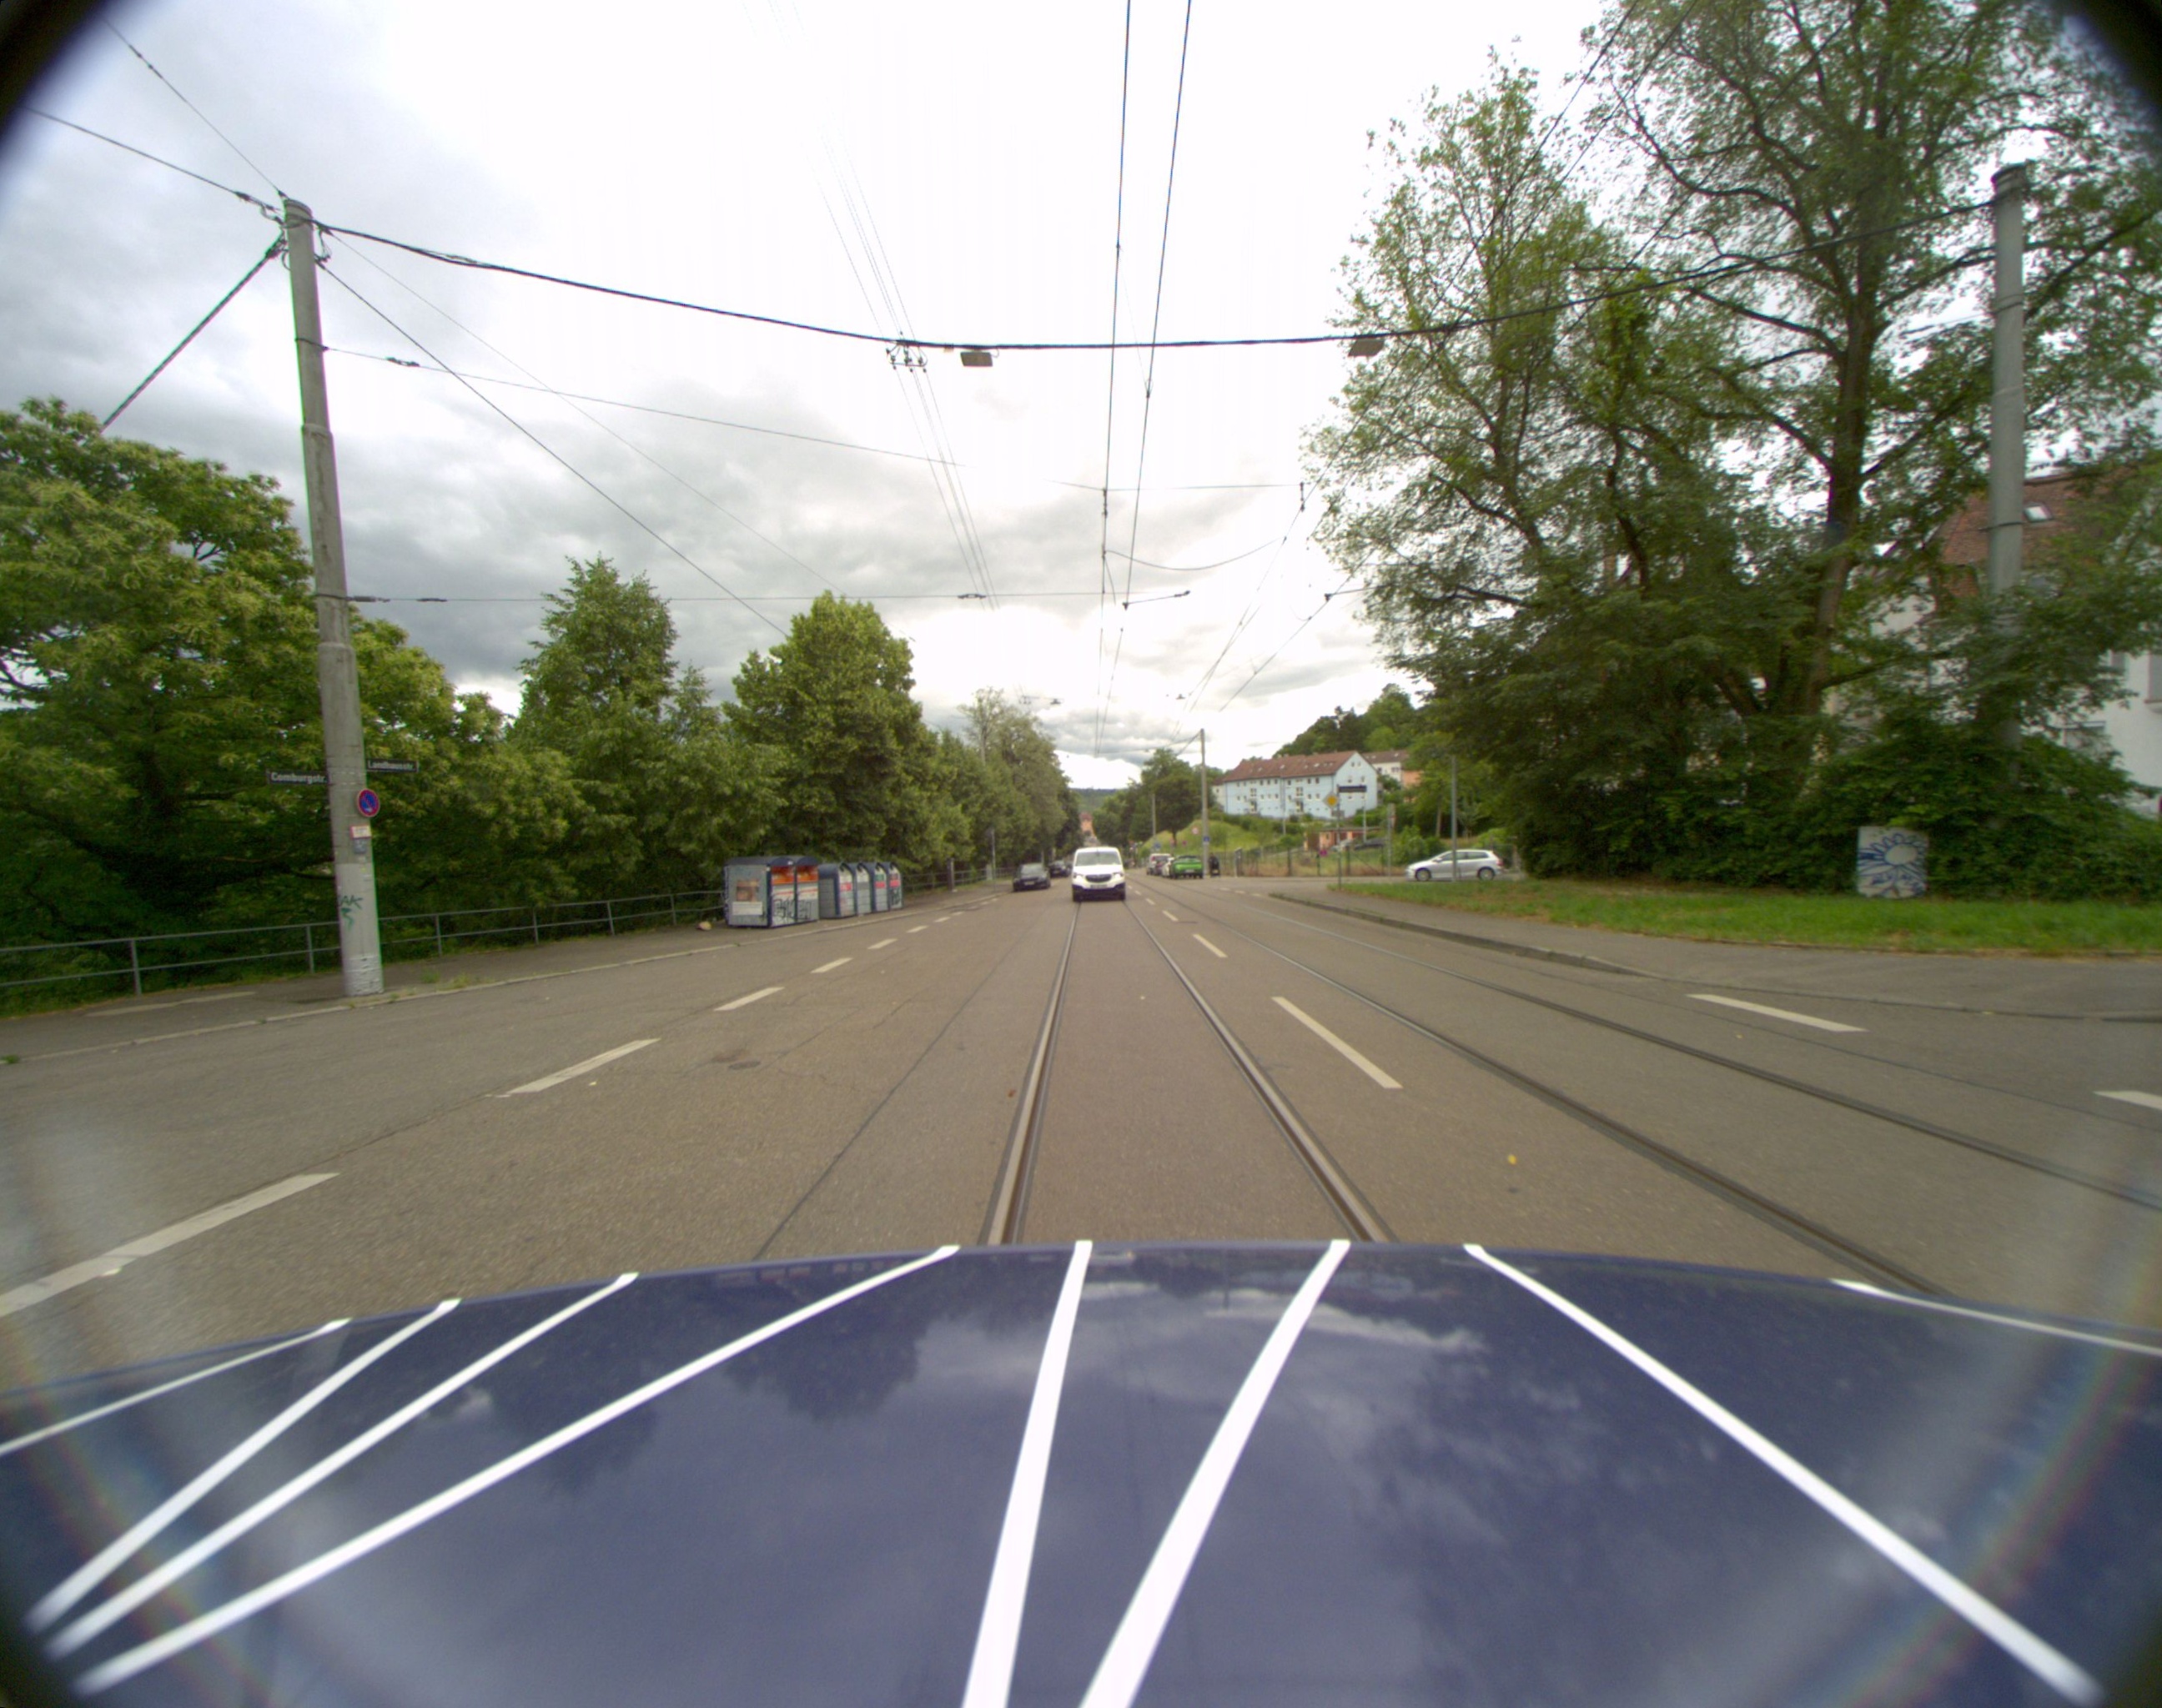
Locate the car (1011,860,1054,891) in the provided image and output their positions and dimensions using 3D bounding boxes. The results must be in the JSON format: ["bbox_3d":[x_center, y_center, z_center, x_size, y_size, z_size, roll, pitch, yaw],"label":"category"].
[{"bbox_3d":[-2.595,1.124,41.361,1.863,1.434,4.388,-5,0,1],"label":"car"}]

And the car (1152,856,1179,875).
[{"bbox_3d":[6.856,0.935,61.887,1.856,1.485,3.948,0,0,1],"label":"car"}]

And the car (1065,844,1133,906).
[{"bbox_3d":[0.514,0.654,25.329,1.760,1.824,4.446,-3,0,-4],"label":"car"}]

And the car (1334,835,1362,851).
[{"bbox_3d":[34.736,-1.473,98.798,1.994,1.892,4.008,-2,0,40],"label":"car"}]

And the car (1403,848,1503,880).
[{"bbox_3d":[16.963,0.478,34.775,4.004,1.369,1.698,-1,0,25],"label":"car"}]

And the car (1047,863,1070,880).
[{"bbox_3d":[-2.069,1.634,71.700,1.822,1.344,3.941,-4,-1,2],"label":"car"}]

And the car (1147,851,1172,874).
[{"bbox_3d":[6.930,0.734,67.342,1.901,1.935,4.291,0,0,1],"label":"car"}]

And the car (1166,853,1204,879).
[{"bbox_3d":[6.501,0.731,47.742,1.856,1.531,3.948,-2,0,1],"label":"car"}]

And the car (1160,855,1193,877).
[{"bbox_3d":[6.661,0.800,53.441,1.856,1.485,3.948,0,0,1],"label":"car"}]
